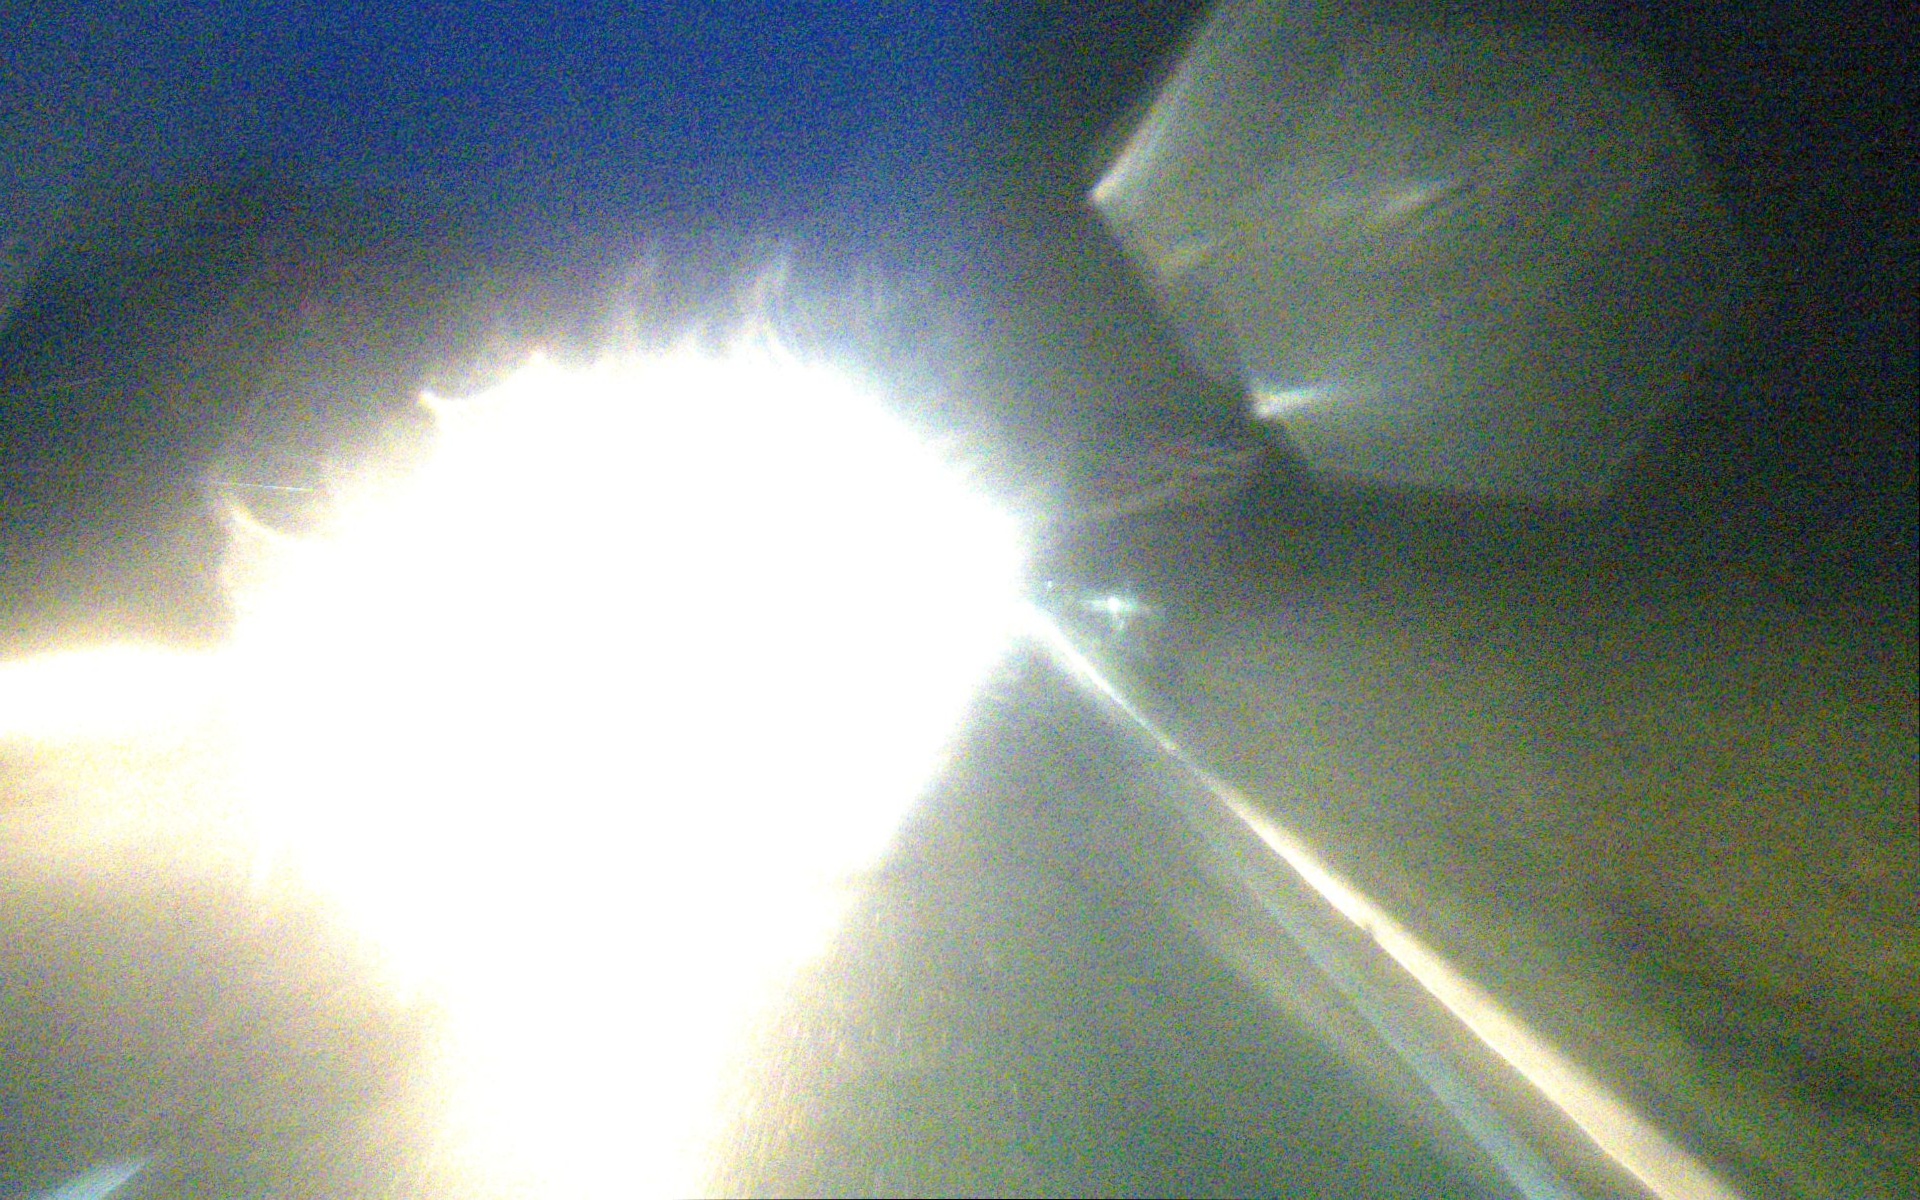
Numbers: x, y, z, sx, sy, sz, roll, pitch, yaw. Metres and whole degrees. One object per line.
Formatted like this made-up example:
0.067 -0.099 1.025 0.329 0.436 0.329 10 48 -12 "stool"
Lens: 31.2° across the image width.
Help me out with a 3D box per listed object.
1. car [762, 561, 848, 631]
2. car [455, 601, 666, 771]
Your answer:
-3.615 -0.109 80.663 1.828 1.451 3.793 -2 2 0 "car"
-3.896 0.803 33.989 1.716 1.465 3.708 -1 1 -1 "car"
